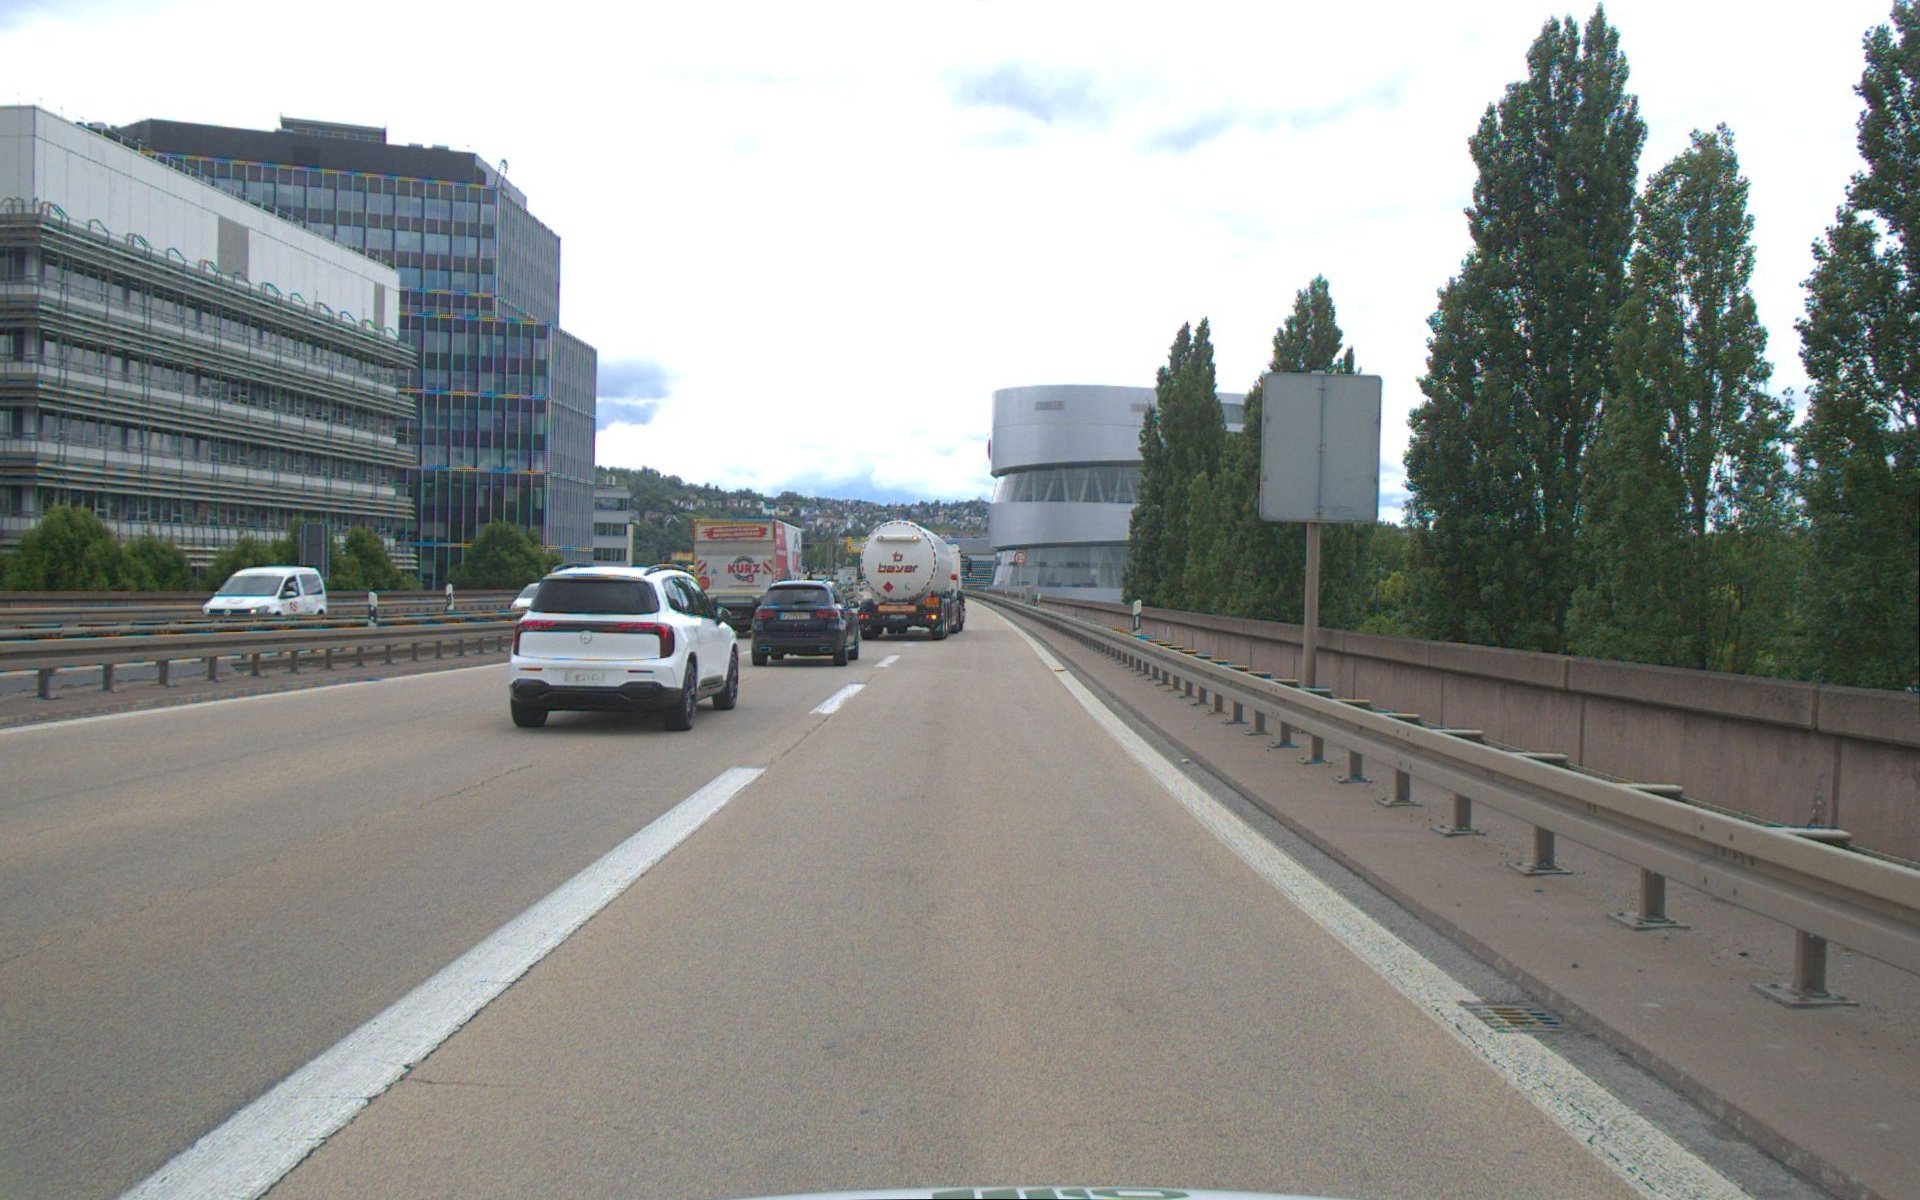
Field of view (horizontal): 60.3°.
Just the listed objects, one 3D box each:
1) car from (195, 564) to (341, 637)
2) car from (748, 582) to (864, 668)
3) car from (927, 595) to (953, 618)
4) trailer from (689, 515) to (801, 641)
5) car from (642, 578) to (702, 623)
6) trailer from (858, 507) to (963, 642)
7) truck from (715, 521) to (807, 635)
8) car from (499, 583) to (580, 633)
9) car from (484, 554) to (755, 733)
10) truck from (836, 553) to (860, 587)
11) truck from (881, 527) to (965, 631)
[{"bbox_3d":[-17.485,-0.008,42.057,1.829,1.741,4.600,-1,1,-1],"label":"car"},{"bbox_3d":[-3.002,0.469,33.044,1.808,1.531,4.266,2,0,1],"label":"car"},{"bbox_3d":[-1.635,0.517,134.338,1.954,1.564,3.999,7,0,-2],"label":"car"},{"bbox_3d":[-6.794,-0.695,53.232,2.635,3.754,7.312,-1,1,0],"label":"trailer"},{"bbox_3d":[-13.465,0.004,77.486,1.952,2.049,4.552,-1,1,1],"label":"car"},{"bbox_3d":[-1.407,-0.793,52.746,2.734,3.802,11.157,-1,1,1],"label":"trailer"},{"bbox_3d":[-6.827,-0.751,57.287,2.636,3.754,4.439,-1,0,0],"label":"truck"},{"bbox_3d":[-13.786,0.232,54.383,1.713,1.588,3.999,-1,1,-1],"label":"car"},{"bbox_3d":[-3.629,0.420,18.604,1.952,1.697,4.892,1,0,1],"label":"car"},{"bbox_3d":[-13.315,-3.564,196.626,2.346,3.961,5.943,-1,1,0],"label":"truck"},{"bbox_3d":[-1.246,-0.752,59.057,2.712,3.490,5.966,-1,1,1],"label":"truck"}]
